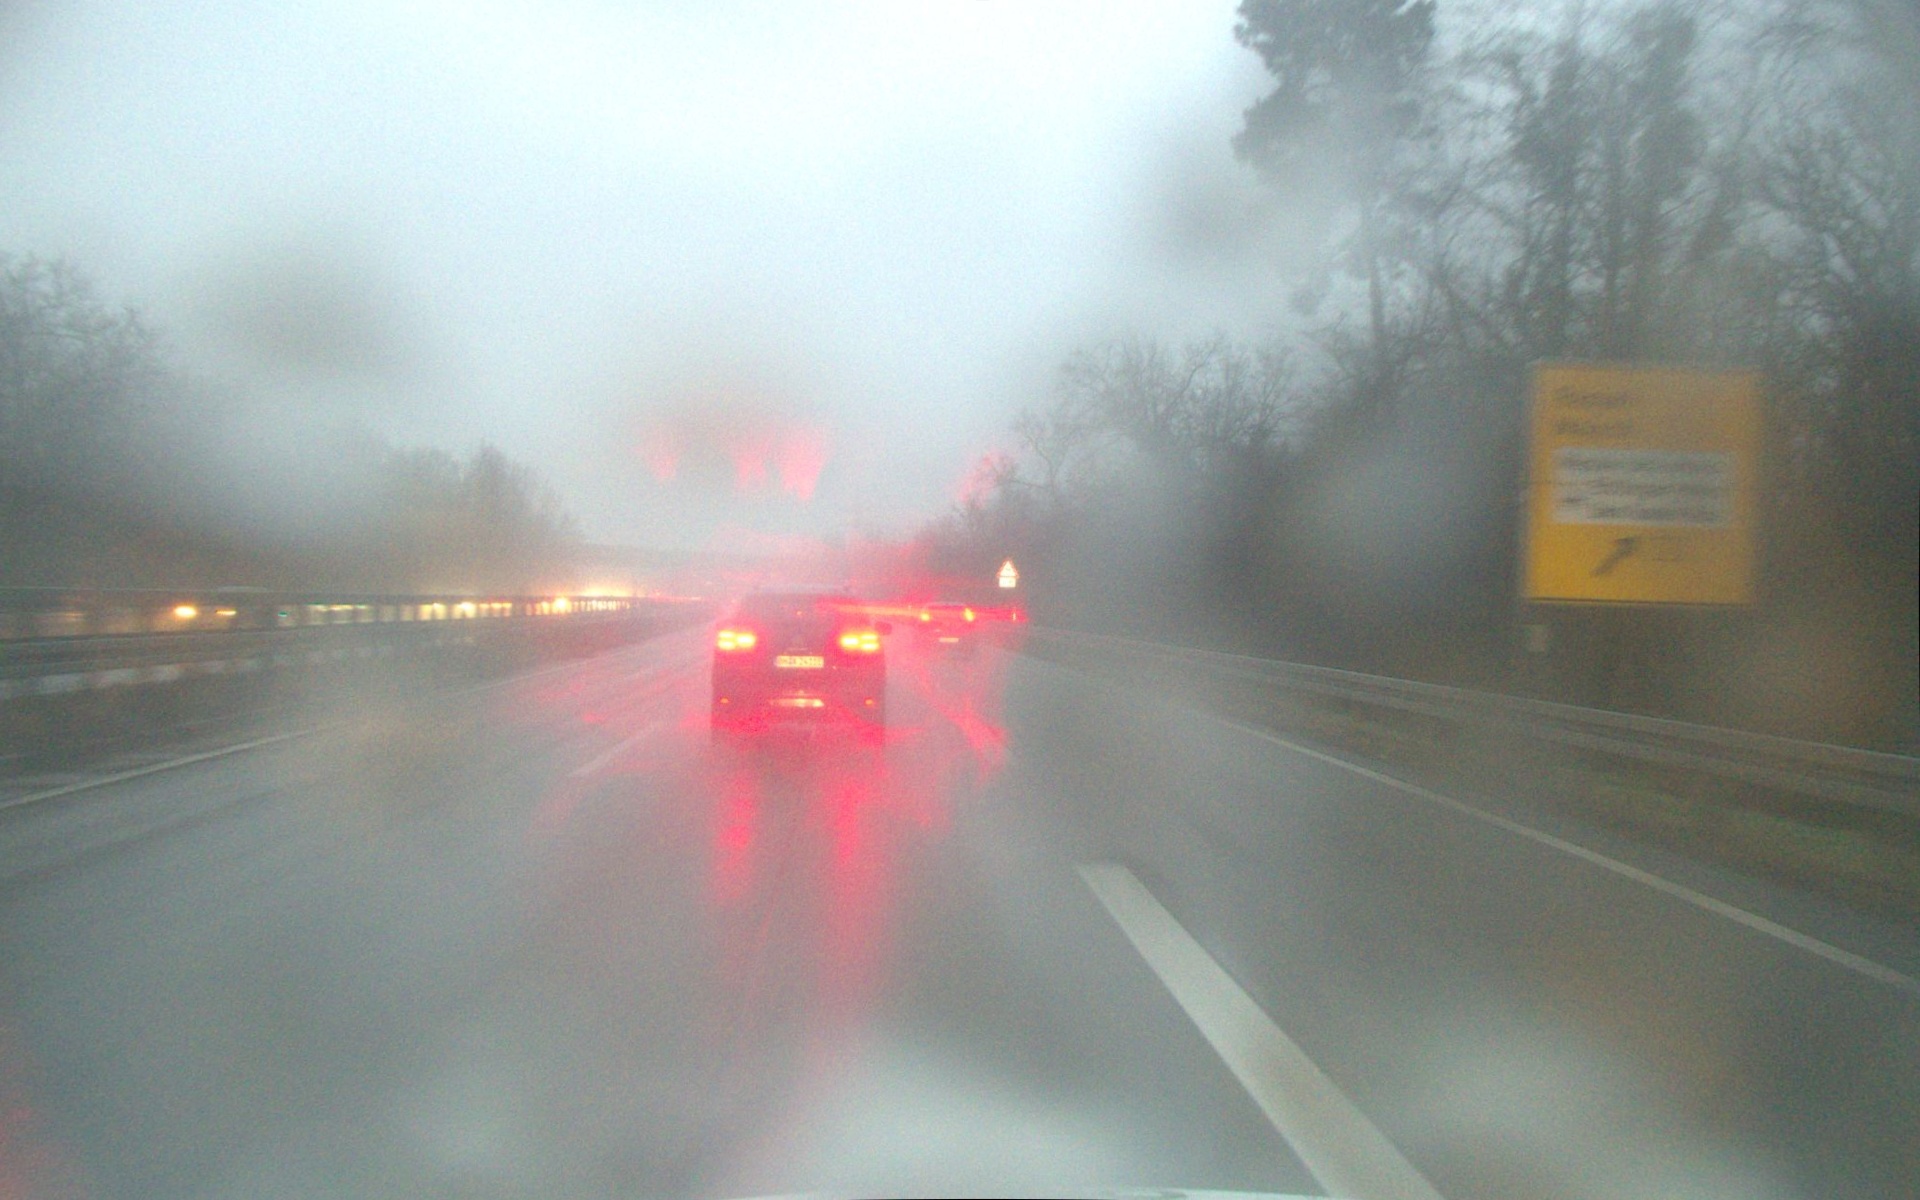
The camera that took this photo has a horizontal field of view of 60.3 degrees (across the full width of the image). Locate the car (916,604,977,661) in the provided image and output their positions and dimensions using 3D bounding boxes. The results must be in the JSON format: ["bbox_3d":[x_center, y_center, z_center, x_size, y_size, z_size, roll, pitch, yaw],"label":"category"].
[{"bbox_3d":[-0.372,0.837,43.989,1.537,1.433,3.645,1,0,-1],"label":"car"}]

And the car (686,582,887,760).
[{"bbox_3d":[-1.813,0.707,18.247,1.952,1.745,3.827,1,0,-3],"label":"car"}]

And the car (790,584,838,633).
[{"bbox_3d":[-6.397,0.363,72.660,1.954,2.049,3.997,1,0,-3],"label":"car"}]
